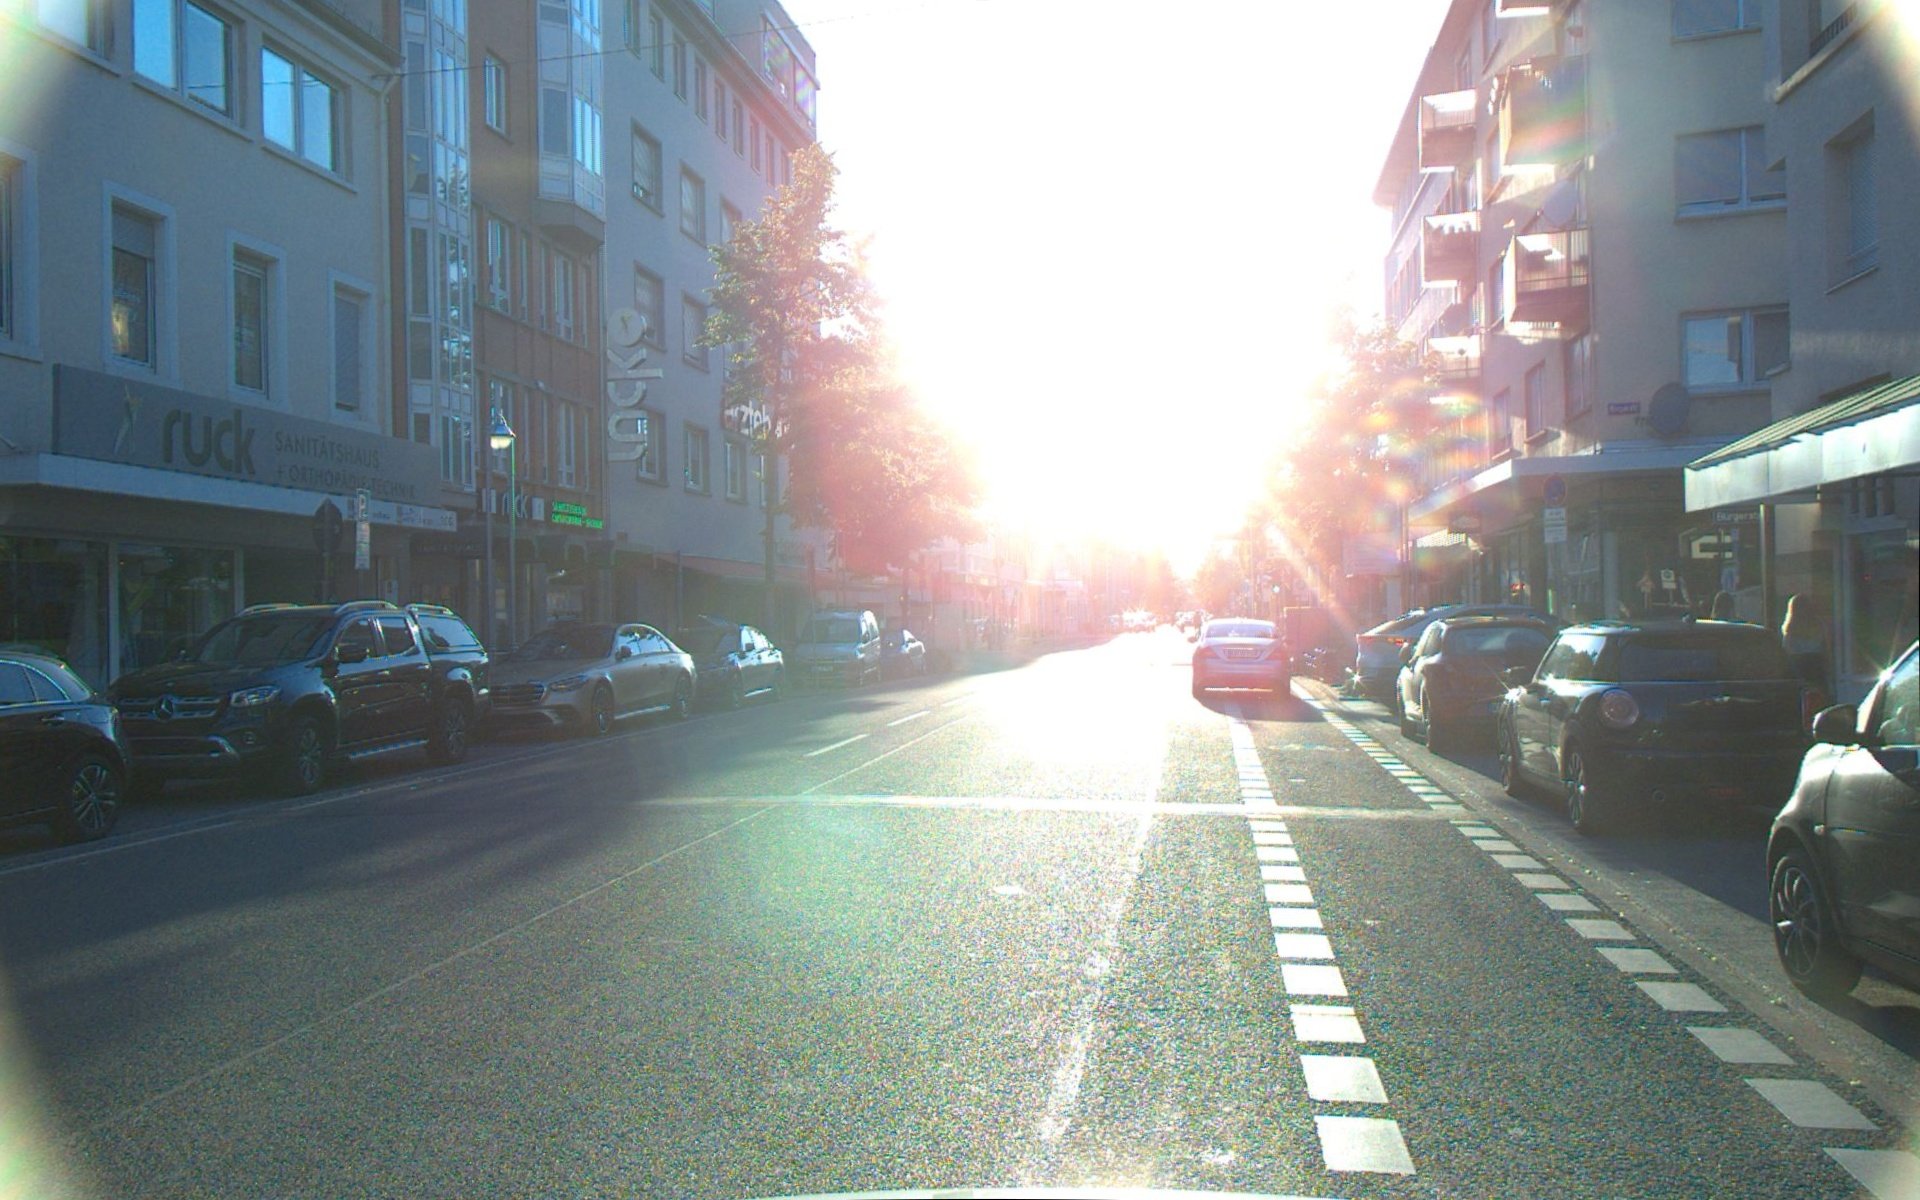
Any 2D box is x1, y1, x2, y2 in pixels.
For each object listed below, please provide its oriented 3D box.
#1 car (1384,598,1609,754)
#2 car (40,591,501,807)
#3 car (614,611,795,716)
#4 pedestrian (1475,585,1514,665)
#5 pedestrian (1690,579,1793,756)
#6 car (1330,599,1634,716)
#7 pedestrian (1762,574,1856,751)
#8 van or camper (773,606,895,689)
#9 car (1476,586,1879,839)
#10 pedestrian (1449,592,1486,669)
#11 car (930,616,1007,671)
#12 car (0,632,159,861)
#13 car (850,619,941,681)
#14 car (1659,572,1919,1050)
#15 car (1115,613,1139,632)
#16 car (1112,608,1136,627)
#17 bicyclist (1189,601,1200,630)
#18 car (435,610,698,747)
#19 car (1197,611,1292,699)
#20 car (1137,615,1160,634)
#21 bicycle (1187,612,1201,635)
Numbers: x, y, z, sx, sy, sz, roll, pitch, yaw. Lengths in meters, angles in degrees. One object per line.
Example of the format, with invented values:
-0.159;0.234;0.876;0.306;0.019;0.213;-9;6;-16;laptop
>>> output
6.132;0.810;19.318;1.751;1.608;3.790;-1;0;7;car
-6.724;0.875;16.971;1.951;1.808;5.323;-2;-1;7;car
-4.445;1.063;29.466;1.951;1.684;4.483;-1;0;8;car
12.311;0.573;38.093;0.702;1.823;0.667;-2;-1;9;pedestrian
7.950;0.673;16.870;0.616;1.730;1.041;-2;-1;8;pedestrian
8.163;0.874;25.972;4.235;1.727;1.872;1;0;-15;car
8.552;0.622;16.683;0.547;1.730;0.832;-2;-1;8;pedestrian
-2.888;1.059;38.977;1.750;1.805;4.562;-1;0;10;van or camper
5.196;0.737;12.535;1.751;1.608;3.790;-1;0;7;car
12.179;0.722;39.702;0.702;1.823;0.667;-2;-1;9;pedestrian
0.306;1.286;49.709;1.653;1.529;3.790;-1;0;10;car
-7.387;1.060;10.780;1.649;1.514;4.414;-4;-1;8;car
-1.683;1.313;44.630;1.653;1.529;3.790;-1;0;10;car
4.177;0.695;6.257;1.751;1.608;3.970;-1;0;7;car
14.294;1.918;141.495;1.653;1.529;3.790;-1;0;10;car
13.617;1.436;137.366;1.653;1.529;3.790;-1;0;10;car
13.347;0.895;94.123;0.535;1.608;0.803;-2;-1;12;bicyclist
-5.439;1.028;23.560;1.951;1.684;4.632;-2;-1;9;car
5.384;0.986;31.241;1.653;1.529;3.790;1;0;10;car
15.586;2.034;136.772;1.653;1.529;3.790;-1;0;10;car
13.297;1.323;94.124;0.649;1.264;2.132;0;0;12;bicycle
